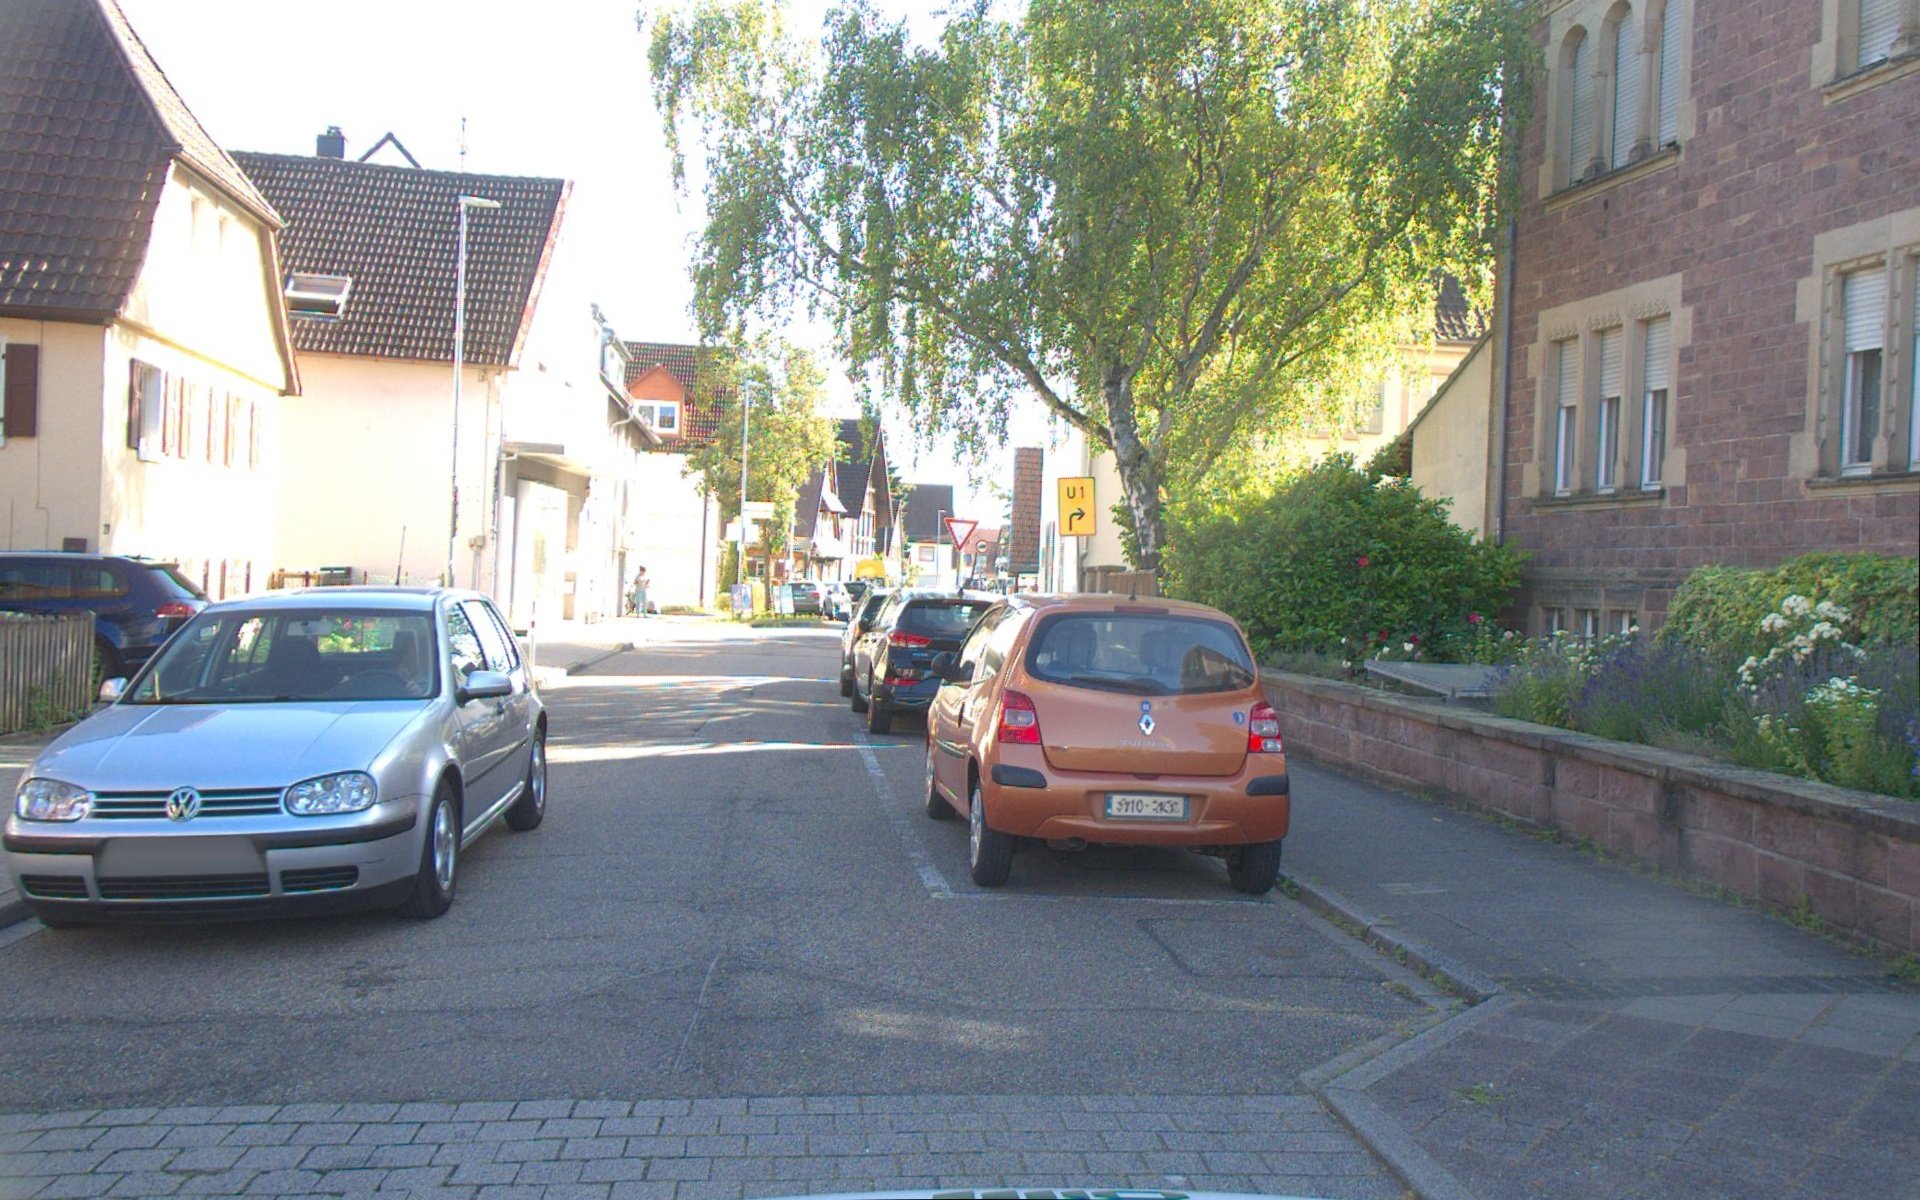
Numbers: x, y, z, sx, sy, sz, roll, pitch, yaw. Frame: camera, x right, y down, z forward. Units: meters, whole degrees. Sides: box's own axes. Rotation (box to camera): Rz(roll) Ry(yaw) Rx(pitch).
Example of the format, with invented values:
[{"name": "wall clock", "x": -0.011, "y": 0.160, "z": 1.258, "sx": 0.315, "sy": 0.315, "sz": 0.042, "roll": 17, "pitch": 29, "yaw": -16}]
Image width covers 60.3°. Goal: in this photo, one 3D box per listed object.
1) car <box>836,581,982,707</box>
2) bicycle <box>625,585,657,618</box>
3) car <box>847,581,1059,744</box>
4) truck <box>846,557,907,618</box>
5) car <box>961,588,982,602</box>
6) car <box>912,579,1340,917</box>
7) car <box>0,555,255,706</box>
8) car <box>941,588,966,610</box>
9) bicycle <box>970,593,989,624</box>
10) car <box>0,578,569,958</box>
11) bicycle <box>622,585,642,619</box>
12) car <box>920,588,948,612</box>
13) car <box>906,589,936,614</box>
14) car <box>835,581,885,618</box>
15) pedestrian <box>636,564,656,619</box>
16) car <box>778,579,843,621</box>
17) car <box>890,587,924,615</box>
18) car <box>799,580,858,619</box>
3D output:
[{"name": "car", "x": -0.757, "y": 0.525, "z": 22.823, "sx": 1.771, "sy": 1.461, "sz": 4.283, "roll": 2, "pitch": 1, "yaw": -3}, {"name": "bicycle", "x": -10.936, "y": 0.068, "z": 56.768, "sx": 0.566, "sy": 1.071, "sz": 2.037, "roll": 2, "pitch": -1, "yaw": 3}, {"name": "car", "x": -0.202, "y": 0.586, "z": 18.130, "sx": 1.773, "sy": 1.461, "sz": 4.279, "roll": 2, "pitch": 1, "yaw": -7}, {"name": "truck", "x": -4.206, "y": -0.604, "z": 84.477, "sx": 2.220, "sy": 2.918, "sz": 5.786, "roll": 2, "pitch": 0, "yaw": 5}, {"name": "car", "x": 1.376, "y": -0.605, "z": 199.465, "sx": 1.937, "sy": 1.610, "sz": 3.986, "roll": 3, "pitch": 0, "yaw": -9}, {"name": "car", "x": 0.738, "y": 0.683, "z": 9.735, "sx": 1.617, "sy": 1.504, "sz": 3.928, "roll": 2, "pitch": 1, "yaw": -7}, {"name": "car", "x": -9.699, "y": 0.280, "z": 17.119, "sx": 4.083, "sy": 1.487, "sz": 1.844, "roll": 0, "pitch": 1, "yaw": -10}, {"name": "car", "x": -0.430, "y": -0.076, "z": 118.591, "sx": 1.555, "sy": 1.468, "sz": 3.616, "roll": 3, "pitch": 0, "yaw": 2}, {"name": "bicycle", "x": 0.794, "y": 0.340, "z": 67.172, "sx": 0.424, "sy": 1.197, "sz": 1.830, "roll": 2, "pitch": 0, "yaw": 11}, {"name": "car", "x": -3.086, "y": 0.623, "z": 8.250, "sx": 1.638, "sy": 1.427, "sz": 3.888, "roll": 1, "pitch": 1, "yaw": -5}, {"name": "bicycle", "x": -10.578, "y": 0.070, "z": 53.372, "sx": 0.415, "sy": 1.071, "sz": 1.380, "roll": 2, "pitch": -1, "yaw": -3}, {"name": "car", "x": -1.645, "y": -0.014, "z": 106.707, "sx": 1.555, "sy": 1.468, "sz": 3.616, "roll": 3, "pitch": 0, "yaw": 2}, {"name": "car", "x": -2.295, "y": 0.082, "z": 98.084, "sx": 1.555, "sy": 1.359, "sz": 3.616, "roll": 3, "pitch": 0, "yaw": 2}, {"name": "car", "x": -4.747, "y": -0.020, "z": 78.958, "sx": 1.768, "sy": 1.650, "sz": 3.883, "roll": 2, "pitch": 0, "yaw": 5}, {"name": "pedestrian", "x": -10.164, "y": -0.269, "z": 53.562, "sx": 0.473, "sy": 1.722, "sz": 0.557, "roll": 2, "pitch": -2, "yaw": 0}, {"name": "car", "x": -5.894, "y": 0.007, "z": 65.672, "sx": 1.828, "sy": 1.532, "sz": 4.110, "roll": 2, "pitch": 0, "yaw": 5}, {"name": "car", "x": -2.991, "y": 0.053, "z": 93.482, "sx": 1.611, "sy": 1.457, "sz": 3.616, "roll": 3, "pitch": 0, "yaw": 2}, {"name": "car", "x": -5.522, "y": 0.000, "z": 70.051, "sx": 1.768, "sy": 1.532, "sz": 4.110, "roll": 2, "pitch": 0, "yaw": 5}]
